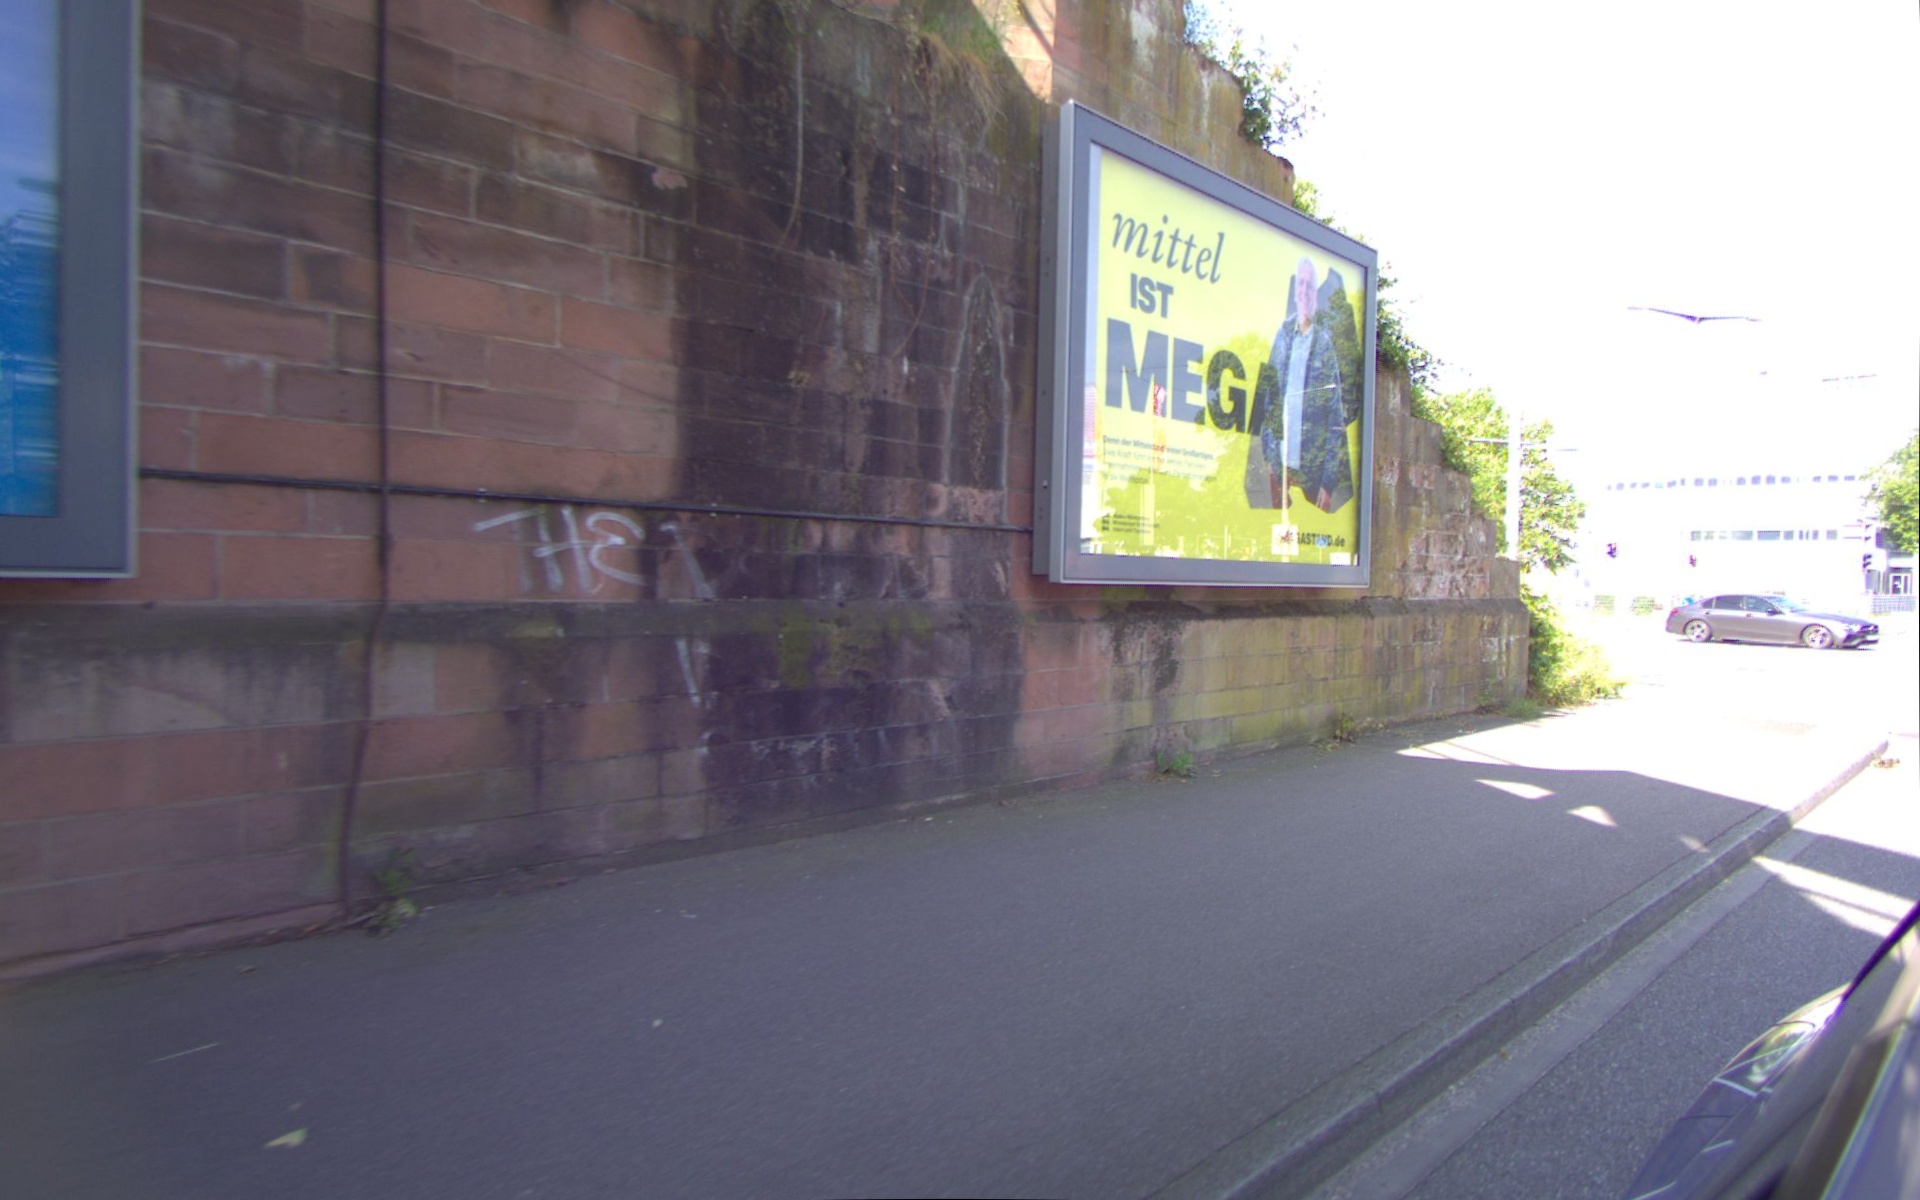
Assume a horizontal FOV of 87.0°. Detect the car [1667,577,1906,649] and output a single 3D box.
[{"bbox_3d":[22.333,0.284,27.606,1.788,1.662,4.686,0,2,-25],"label":"car"}]
